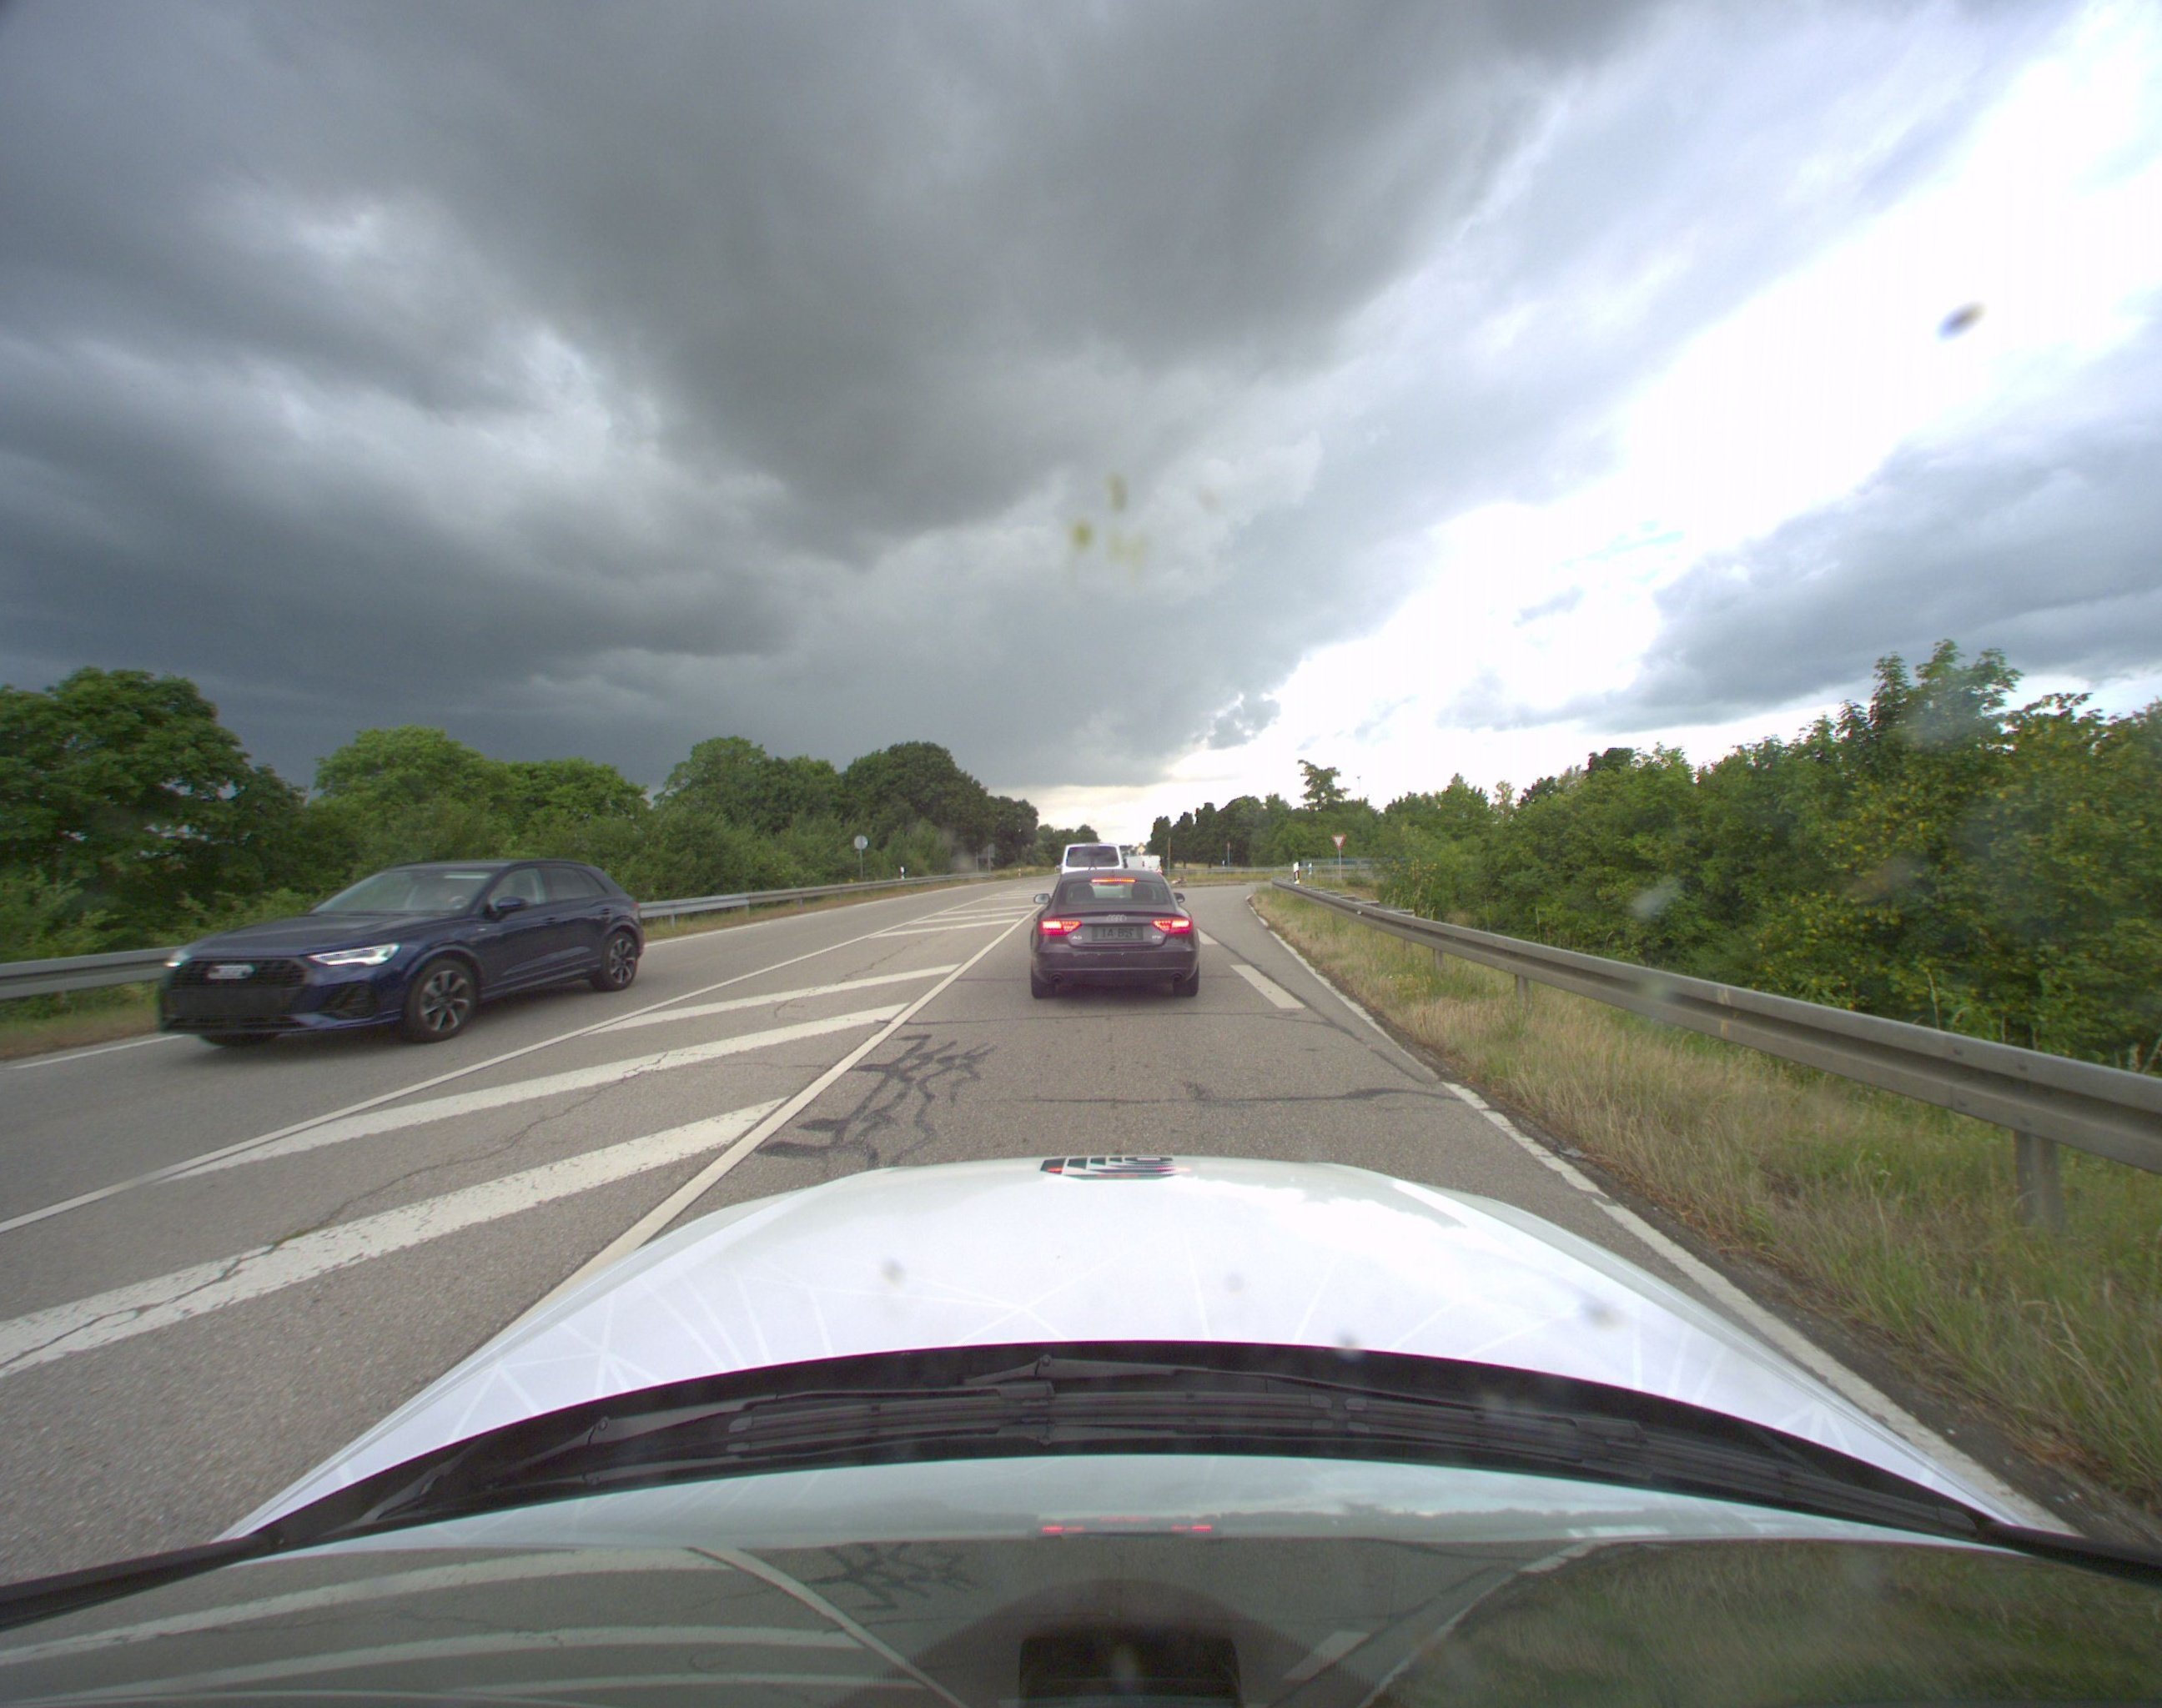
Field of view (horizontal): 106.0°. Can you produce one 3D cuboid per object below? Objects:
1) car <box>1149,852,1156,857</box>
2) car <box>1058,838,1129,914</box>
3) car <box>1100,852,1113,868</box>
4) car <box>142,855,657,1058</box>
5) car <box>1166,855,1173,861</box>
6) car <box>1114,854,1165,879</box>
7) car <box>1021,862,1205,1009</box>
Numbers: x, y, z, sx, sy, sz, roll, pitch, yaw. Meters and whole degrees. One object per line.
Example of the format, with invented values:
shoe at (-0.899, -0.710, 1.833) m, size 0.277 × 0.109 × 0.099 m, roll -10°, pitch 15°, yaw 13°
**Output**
car at (21.163, 0.135, 241.507) m, size 1.985 × 1.692 × 4.004 m, roll 0°, pitch 0°, yaw 3°
car at (0.364, 0.592, 23.861) m, size 1.904 × 2.013 × 4.000 m, roll 0°, pitch 0°, yaw 1°
car at (3.976, 0.882, 126.566) m, size 1.986 × 2.408 × 4.002 m, roll 1°, pitch 0°, yaw 2°
car at (-6.310, 0.789, 8.338) m, size 1.704 × 1.518 × 4.209 m, roll 0°, pitch 0°, yaw 0°
car at (25.392, 1.229, 234.210) m, size 1.865 × 1.692 × 4.008 m, roll 0°, pitch 0°, yaw 7°
car at (4.978, 1.028, 69.728) m, size 2.093 × 2.064 × 4.831 m, roll 0°, pitch 0°, yaw -28°
car at (0.330, 0.813, 9.634) m, size 1.774 × 1.398 × 3.336 m, roll -1°, pitch 0°, yaw 0°
